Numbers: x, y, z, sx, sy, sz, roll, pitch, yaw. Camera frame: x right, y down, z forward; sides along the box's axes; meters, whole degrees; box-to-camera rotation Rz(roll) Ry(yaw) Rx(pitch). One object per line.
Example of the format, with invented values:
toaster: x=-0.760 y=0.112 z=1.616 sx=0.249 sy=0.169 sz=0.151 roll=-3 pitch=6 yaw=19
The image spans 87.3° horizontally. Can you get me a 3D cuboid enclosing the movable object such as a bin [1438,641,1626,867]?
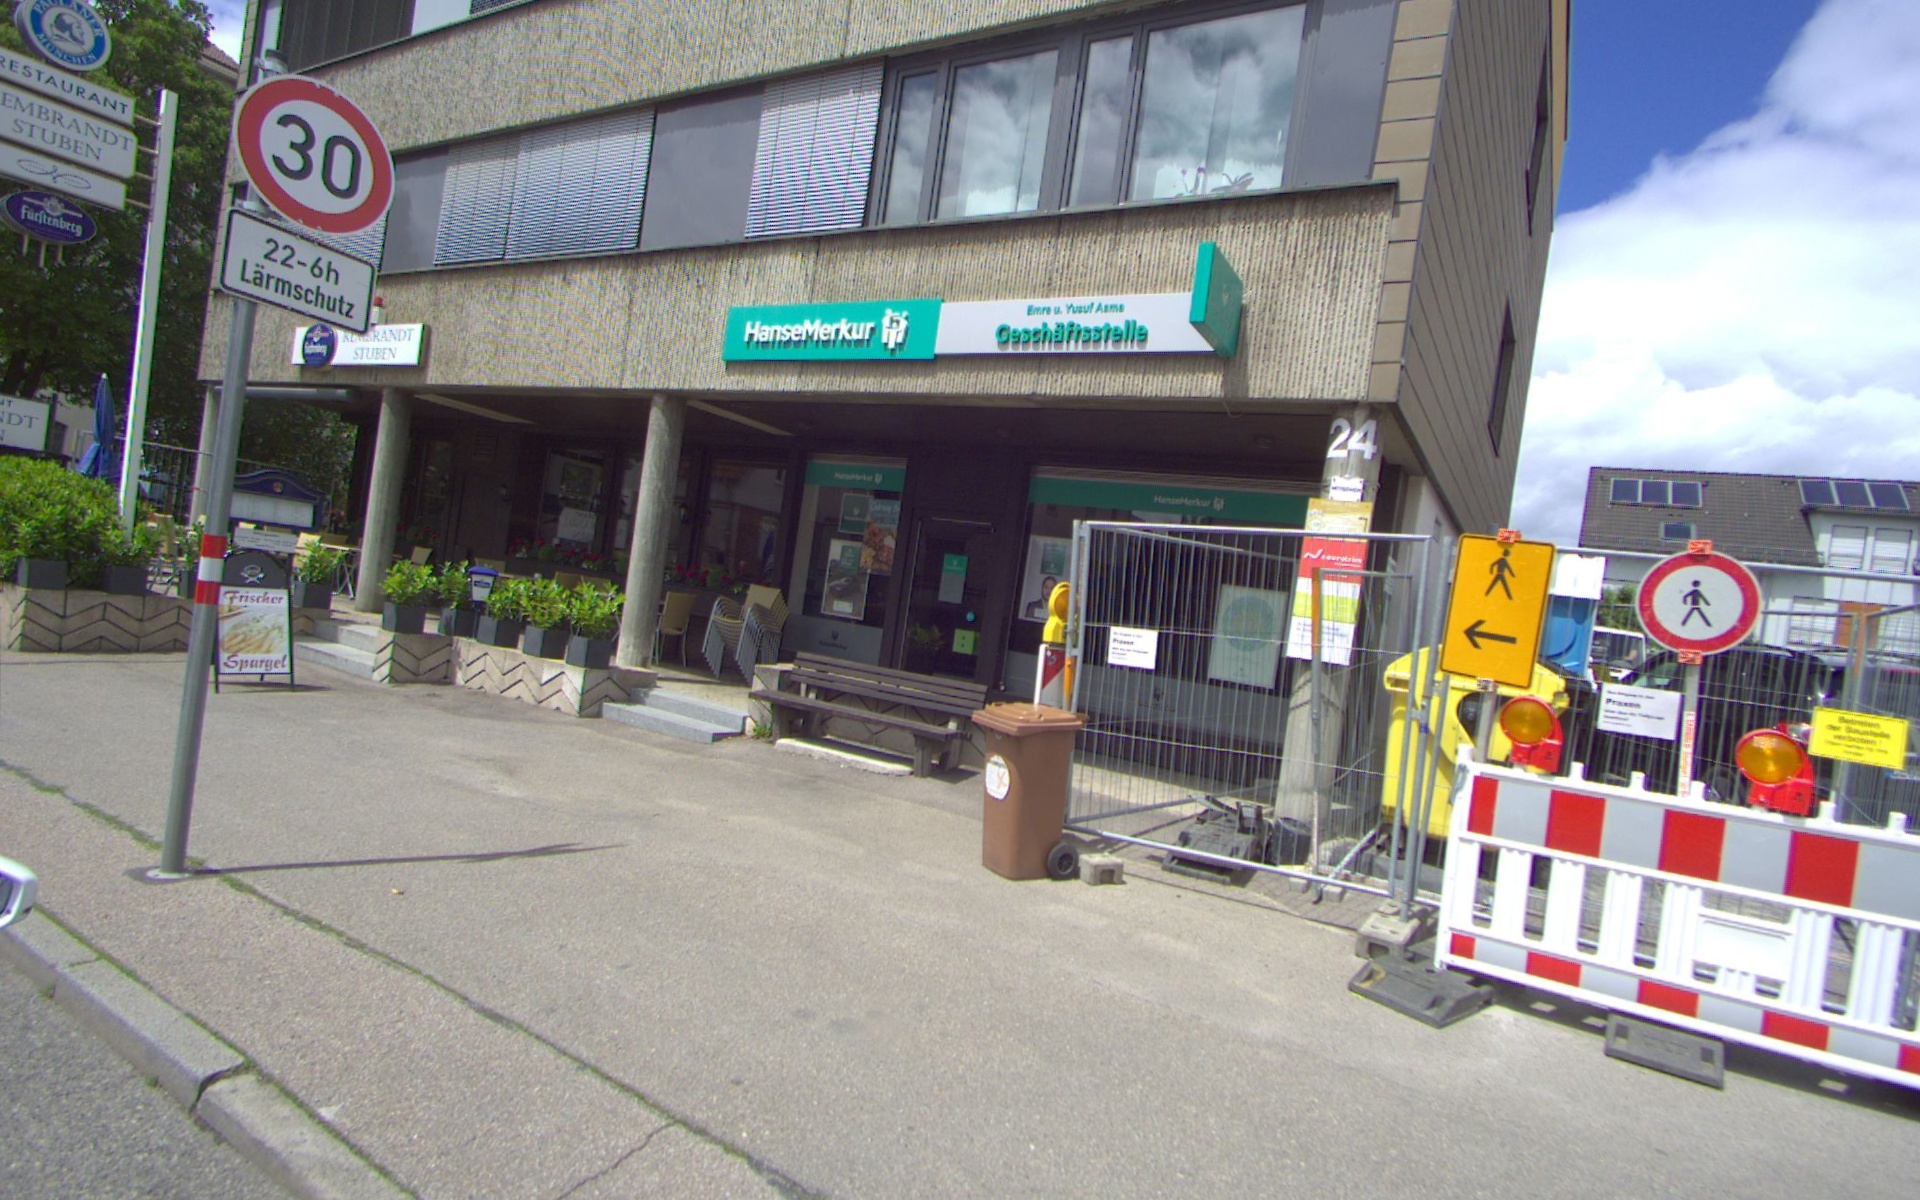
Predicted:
movable object such as a bin: x=4.364 y=1.126 z=7.668 sx=1.001 sy=1.458 sz=0.780 roll=9 pitch=1 yaw=34

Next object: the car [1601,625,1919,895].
car: x=7.736 y=1.284 z=9.213 sx=1.882 sy=1.802 sz=3.774 roll=6 pitch=2 yaw=14

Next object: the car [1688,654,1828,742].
car: x=22.470 y=2.707 z=28.519 sx=1.911 sy=2.070 sz=4.203 roll=7 pitch=-1 yaw=24

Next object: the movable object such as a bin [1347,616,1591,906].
movable object such as a bin: x=3.370 y=0.981 z=6.591 sx=1.059 sy=1.510 sz=1.483 roll=9 pitch=1 yaw=34

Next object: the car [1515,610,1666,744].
car: x=12.176 y=1.484 z=19.438 sx=2.031 sy=2.070 sz=4.743 roll=6 pitch=-1 yaw=33

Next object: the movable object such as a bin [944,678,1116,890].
movable object such as a bin: x=0.383 y=1.020 z=5.708 sx=0.598 sy=1.039 sz=0.674 roll=6 pitch=0 yaw=-29
